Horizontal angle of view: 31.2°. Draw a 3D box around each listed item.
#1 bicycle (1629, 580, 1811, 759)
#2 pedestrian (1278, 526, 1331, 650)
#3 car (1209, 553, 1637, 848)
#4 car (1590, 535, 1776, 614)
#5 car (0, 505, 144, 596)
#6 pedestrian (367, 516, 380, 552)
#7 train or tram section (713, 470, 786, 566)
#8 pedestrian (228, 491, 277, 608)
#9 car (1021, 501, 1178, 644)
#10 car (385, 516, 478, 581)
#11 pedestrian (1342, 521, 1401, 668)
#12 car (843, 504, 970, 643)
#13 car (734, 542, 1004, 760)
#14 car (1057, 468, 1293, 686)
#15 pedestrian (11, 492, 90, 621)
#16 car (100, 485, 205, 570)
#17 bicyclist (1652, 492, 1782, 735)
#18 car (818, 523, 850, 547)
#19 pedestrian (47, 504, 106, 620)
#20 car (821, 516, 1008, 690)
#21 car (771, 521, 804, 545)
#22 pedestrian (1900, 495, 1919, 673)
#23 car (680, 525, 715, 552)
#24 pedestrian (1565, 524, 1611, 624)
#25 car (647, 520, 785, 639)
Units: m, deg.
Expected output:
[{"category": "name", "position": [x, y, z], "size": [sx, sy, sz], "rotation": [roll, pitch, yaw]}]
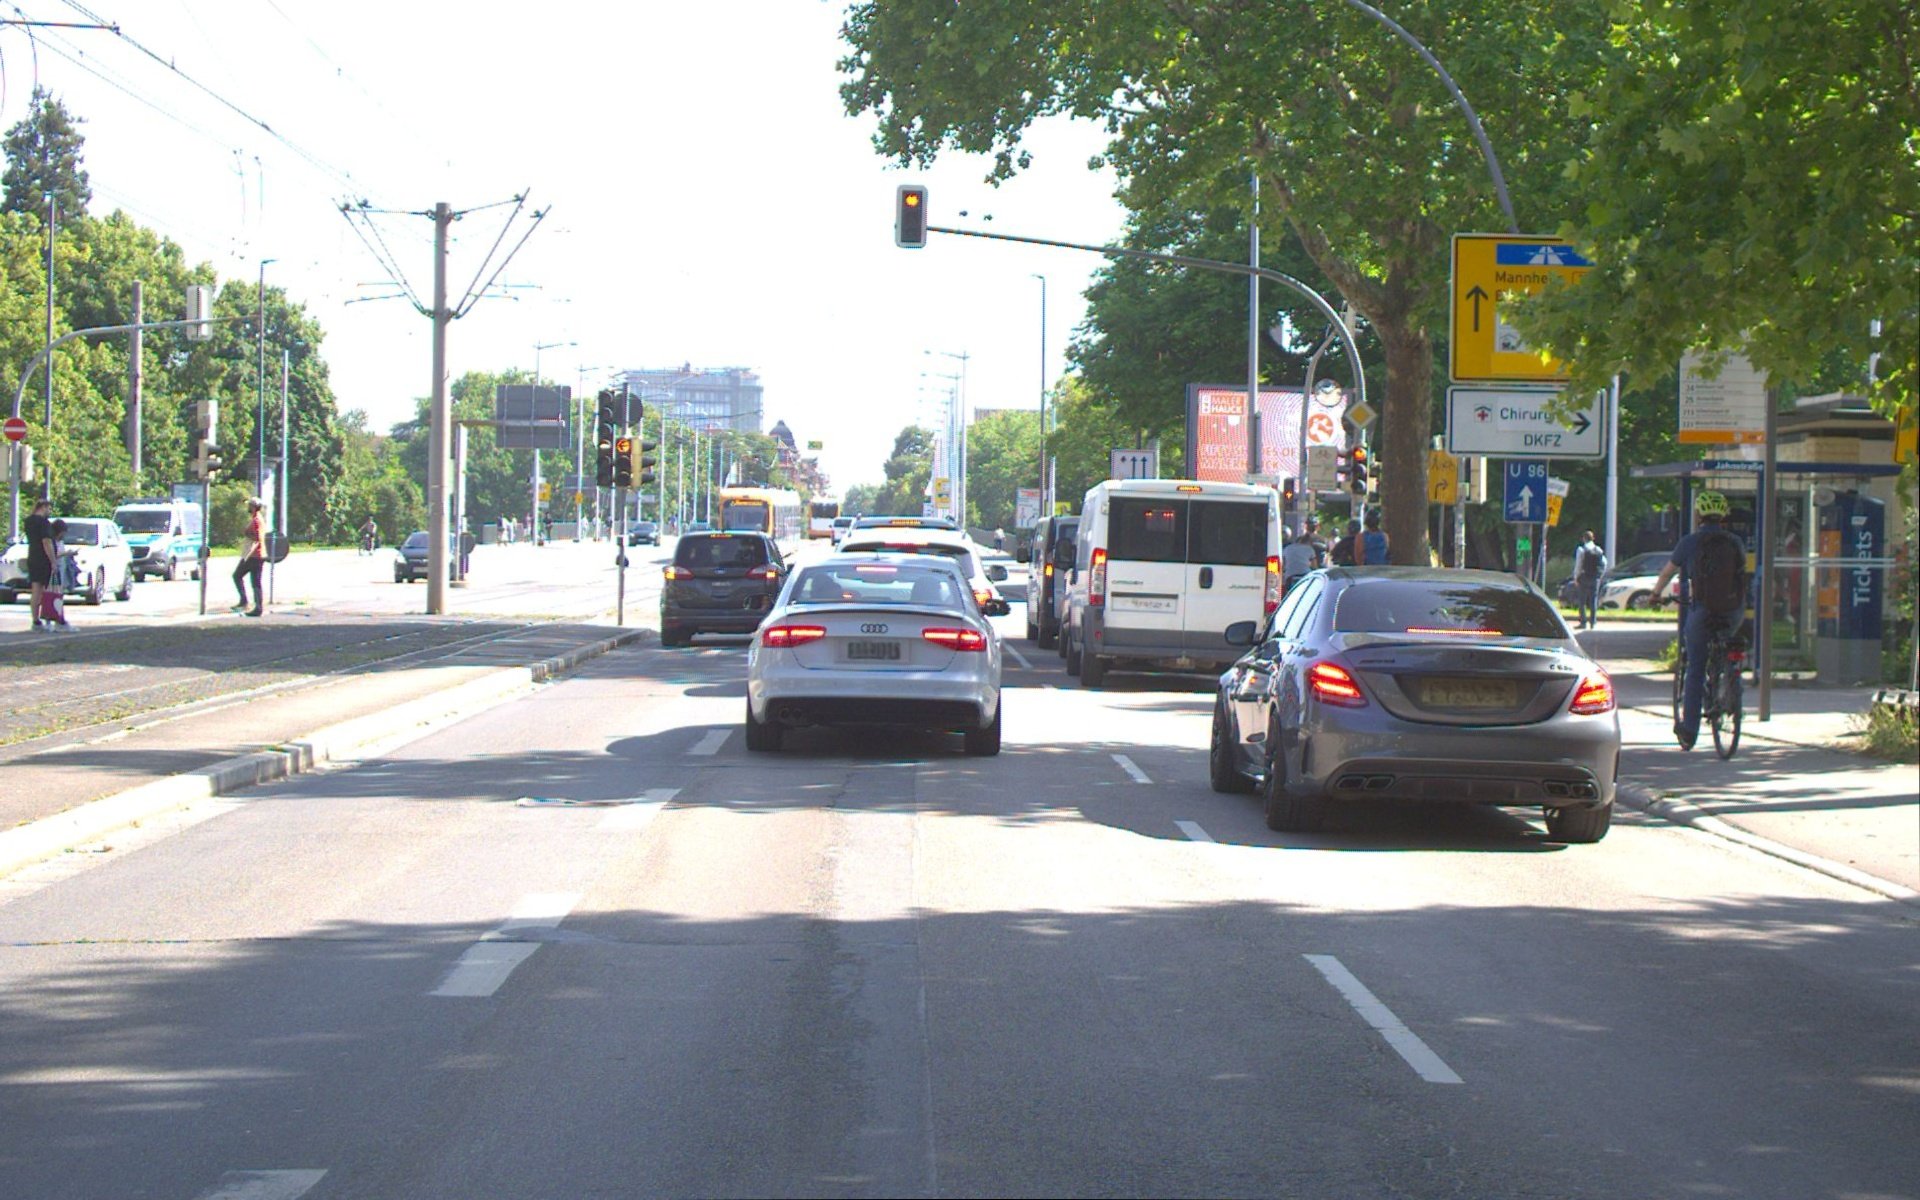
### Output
[{"category": "bicycle", "position": [5.290, 0.459, 24.047], "size": [0.714, 1.144, 2.178], "rotation": [-1, 1, -2]}, {"category": "pedestrian", "position": [4.758, -0.177, 47.469], "size": [0.602, 1.689, 0.953], "rotation": [-1, 1, -1]}, {"category": "car", "position": [2.480, 0.480, 19.335], "size": [1.782, 1.415, 4.000], "rotation": [2, 1, -1]}, {"category": "car", "position": [16.352, -0.590, 77.852], "size": [3.777, 1.666, 1.793], "rotation": [2, 1, 0]}, {"category": "car", "position": [-16.758, -0.942, 64.882], "size": [1.763, 1.603, 3.860], "rotation": [2, 1, 0]}, {"category": "pedestrian", "position": [-25.755, -2.887, 150.927], "size": [0.420, 1.544, 0.552], "rotation": [2, 1, 0]}, {"category": "train or tram section", "position": [-9.052, -3.528, 148.699], "size": [2.616, 4.001, 7.749], "rotation": [2, 1, 0]}, {"category": "pedestrian", "position": [-11.757, -0.841, 57.125], "size": [0.624, 1.911, 0.690], "rotation": [2, 1, 0]}, {"category": "car", "position": [2.032, -0.429, 51.183], "size": [2.072, 1.992, 4.058], "rotation": [2, 1, -1]}, {"category": "car", "position": [-14.854, -1.454, 96.780], "size": [1.993, 1.728, 4.000], "rotation": [2, 1, 0]}, {"category": "pedestrian", "position": [5.489, -0.080, 45.886], "size": [0.635, 1.939, 0.719], "rotation": [2, 1, 0]}, {"category": "car", "position": [-0.773, -0.407, 50.259], "size": [1.729, 1.895, 4.000], "rotation": [2, 1, -1]}, {"category": "car", "position": [-0.638, 0.312, 25.140], "size": [1.784, 1.416, 3.885], "rotation": [2, 1, -1]}, {"category": "car", "position": [2.300, -0.280, 37.866], "size": [2.230, 2.204, 4.162], "rotation": [2, 1, -1]}, {"category": "pedestrian", "position": [-12.458, -0.593, 47.088], "size": [0.775, 1.728, 0.754], "rotation": [2, 1, 8]}, {"category": "car", "position": [-23.643, -2.122, 100.823], "size": [2.114, 2.374, 4.000], "rotation": [1, 1, 0]}, {"category": "bicyclist", "position": [5.270, 0.083, 23.971], "size": [0.634, 1.642, 0.979], "rotation": [-1, 1, -2]}, {"category": "car", "position": [-8.652, -4.440, 235.719], "size": [1.871, 1.603, 4.000], "rotation": [2, 1, 2]}, {"category": "pedestrian", "position": [-12.291, -0.534, 47.835], "size": [0.537, 1.592, 0.577], "rotation": [2, 1, 18]}, {"category": "car", "position": [-0.453, -0.010, 34.591], "size": [1.729, 1.599, 3.885], "rotation": [2, 1, -1]}, {"category": "car", "position": [-11.836, -4.583, 235.873], "size": [1.871, 1.603, 4.000], "rotation": [2, 1, 2]}, {"category": "pedestrian", "position": [10.500, -0.170, 36.809], "size": [0.613, 1.890, 0.694], "rotation": [1, 1, -4]}, {"category": "car", "position": [-16.474, -3.883, 216.042], "size": [1.993, 1.635, 4.001], "rotation": [2, 1, -2]}, {"category": "pedestrian", "position": [11.393, -0.474, 62.363], "size": [0.778, 1.782, 0.763], "rotation": [2, 1, 11]}, {"category": "car", "position": [-3.514, -0.324, 50.135], "size": [1.729, 1.625, 4.000], "rotation": [2, 1, -1]}]
